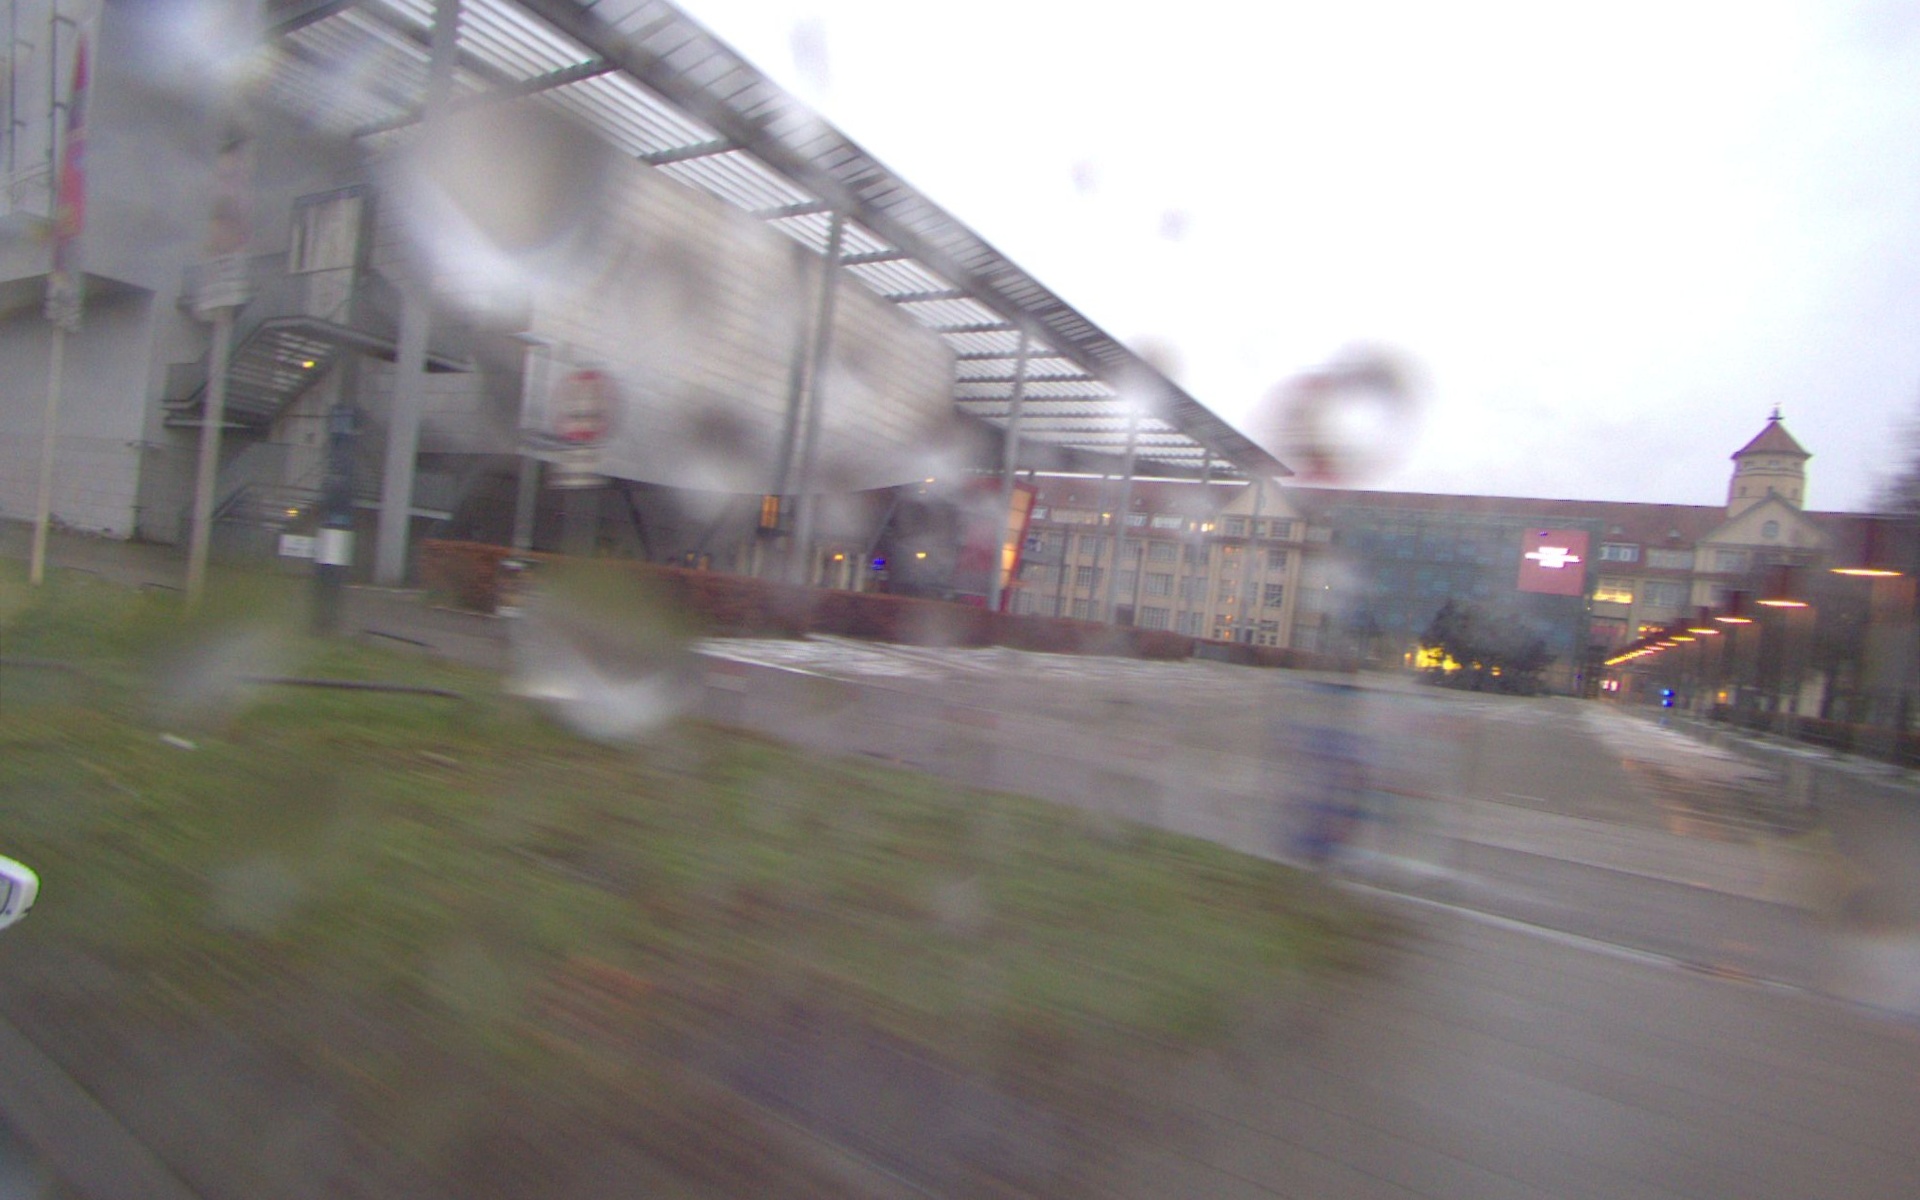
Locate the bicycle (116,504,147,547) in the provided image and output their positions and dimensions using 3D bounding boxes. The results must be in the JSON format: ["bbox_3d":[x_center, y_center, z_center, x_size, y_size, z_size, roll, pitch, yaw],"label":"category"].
[{"bbox_3d":[-27.226,-2.432,33.079,0.407,1.299,1.730,8,-1,-31],"label":"bicycle"}]
